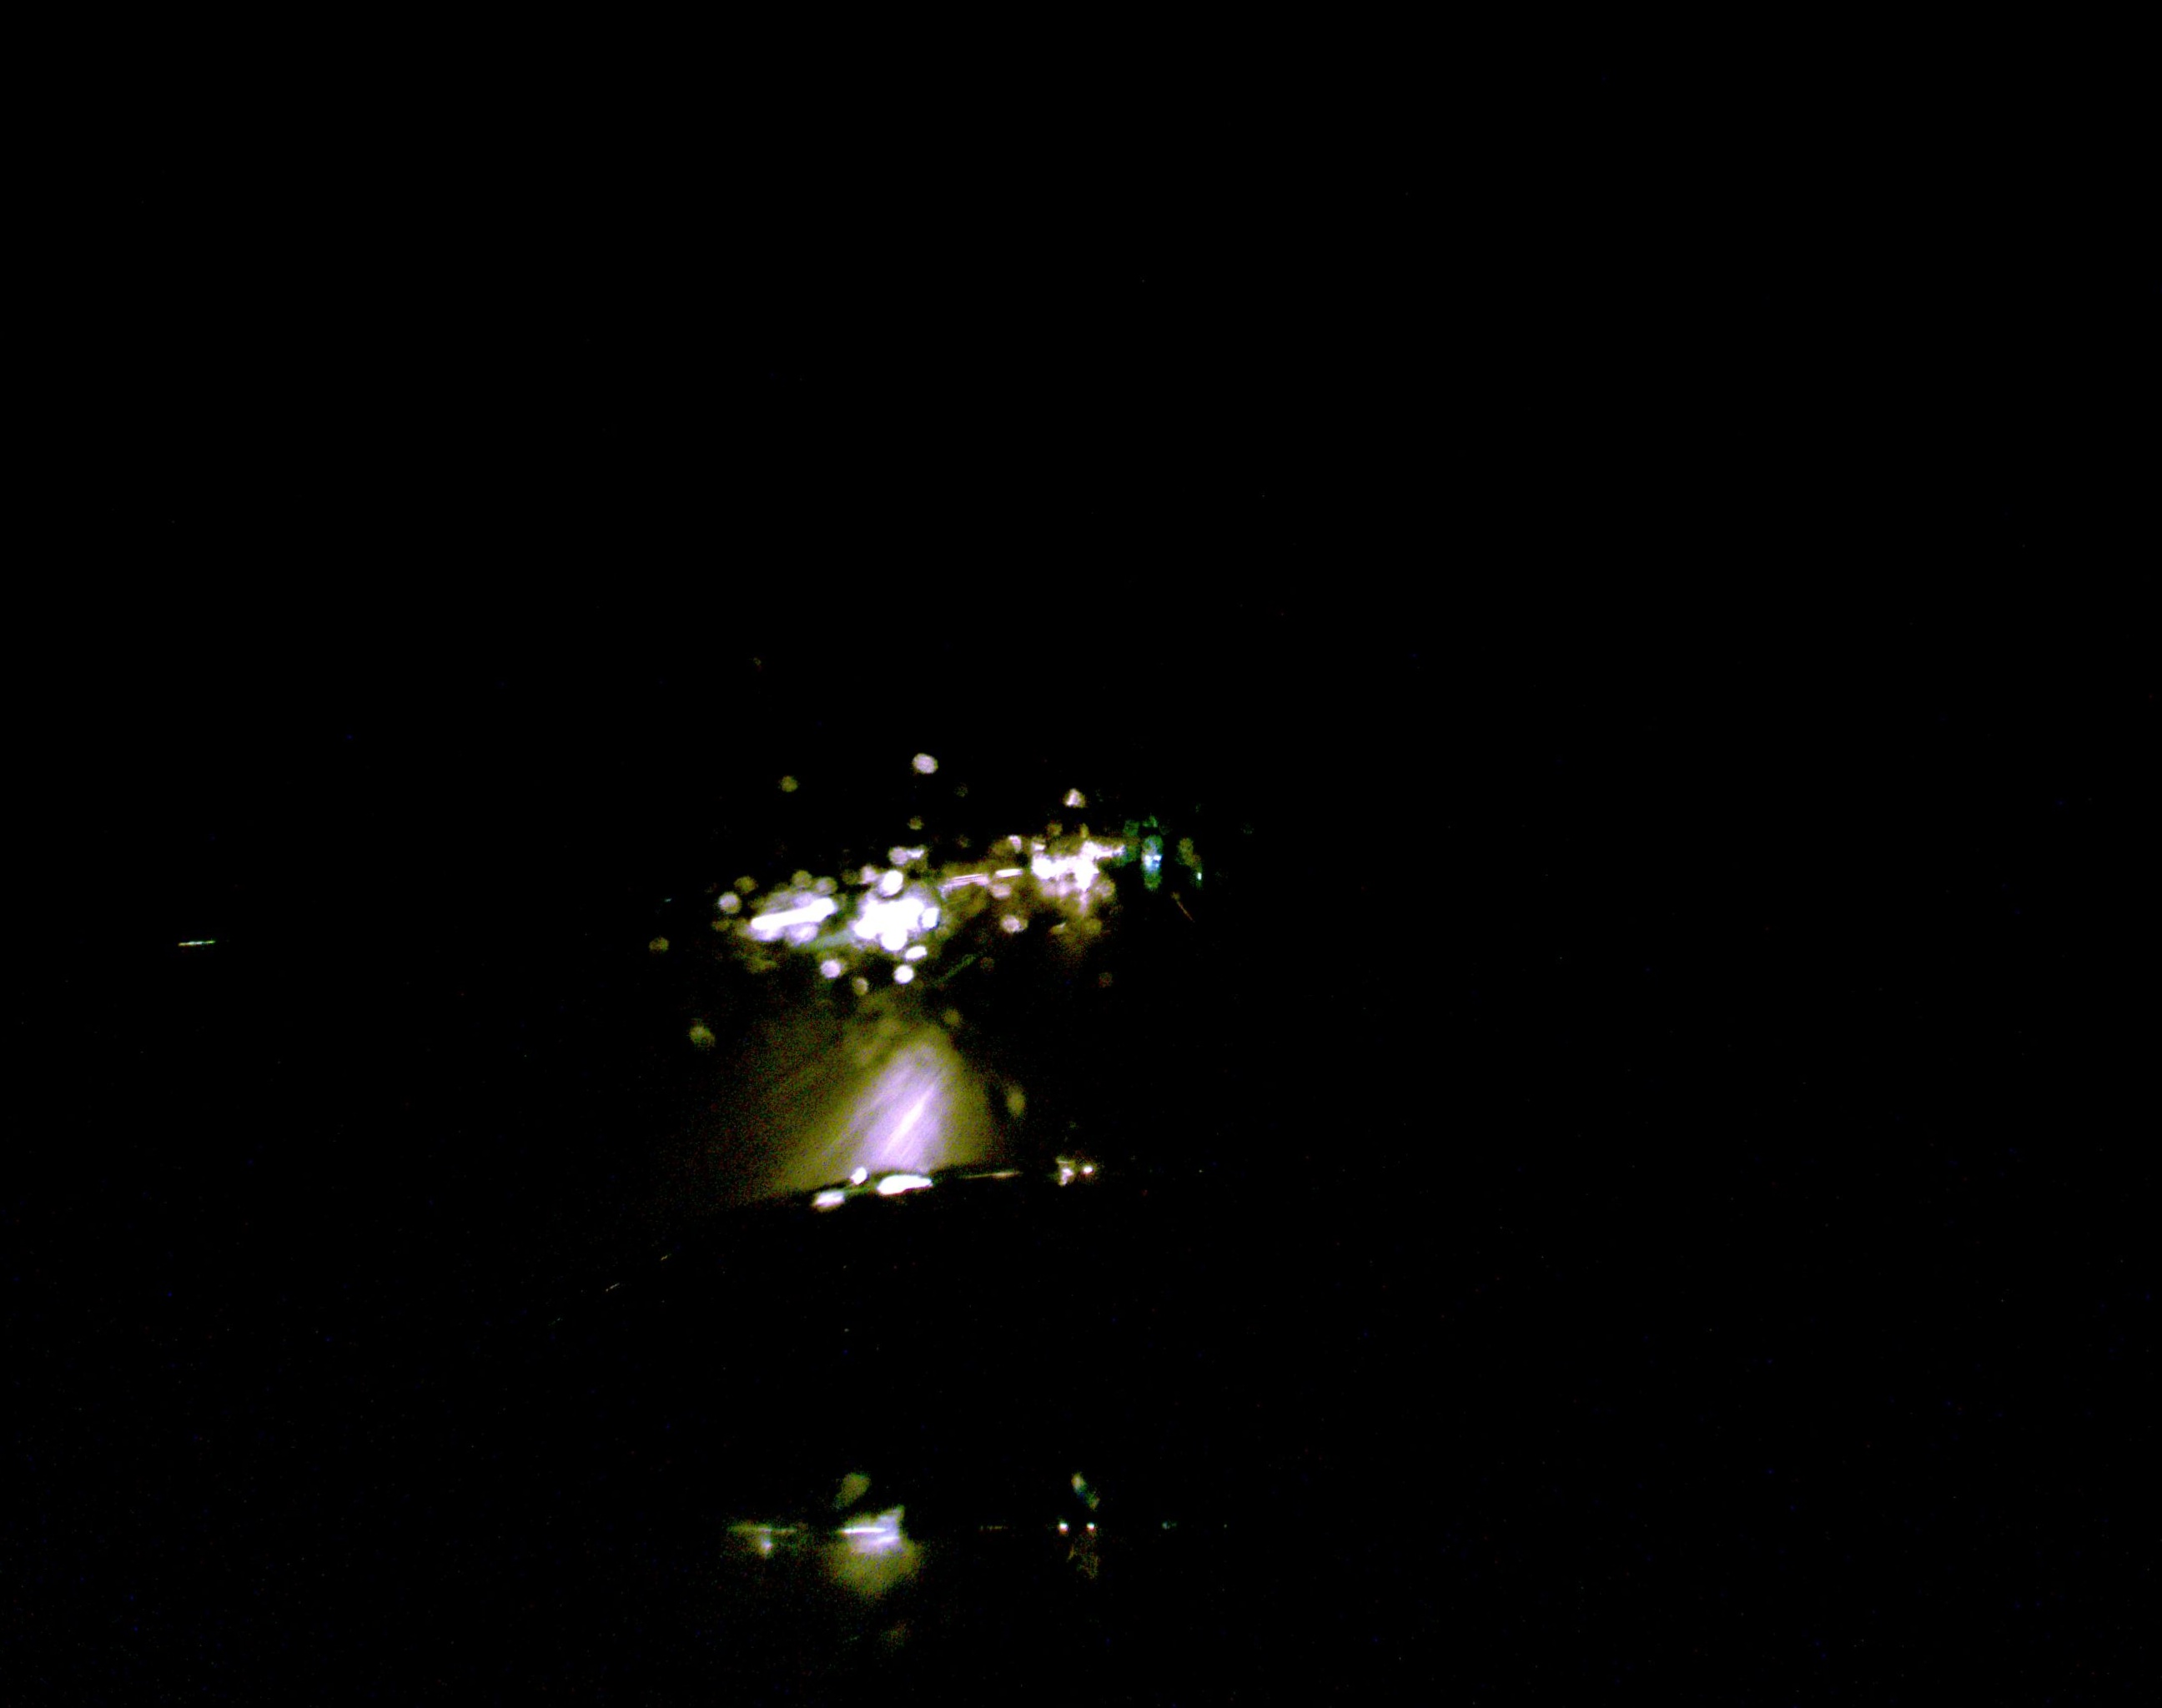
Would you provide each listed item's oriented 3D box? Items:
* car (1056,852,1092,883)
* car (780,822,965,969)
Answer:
[{"bbox_3d":[-0.414,0.805,50.977,1.986,1.655,4.002,-5,1,1],"label":"car"},{"bbox_3d":[-2.986,0.533,12.542,1.751,1.868,4.000,-1,0,0],"label":"car"}]
